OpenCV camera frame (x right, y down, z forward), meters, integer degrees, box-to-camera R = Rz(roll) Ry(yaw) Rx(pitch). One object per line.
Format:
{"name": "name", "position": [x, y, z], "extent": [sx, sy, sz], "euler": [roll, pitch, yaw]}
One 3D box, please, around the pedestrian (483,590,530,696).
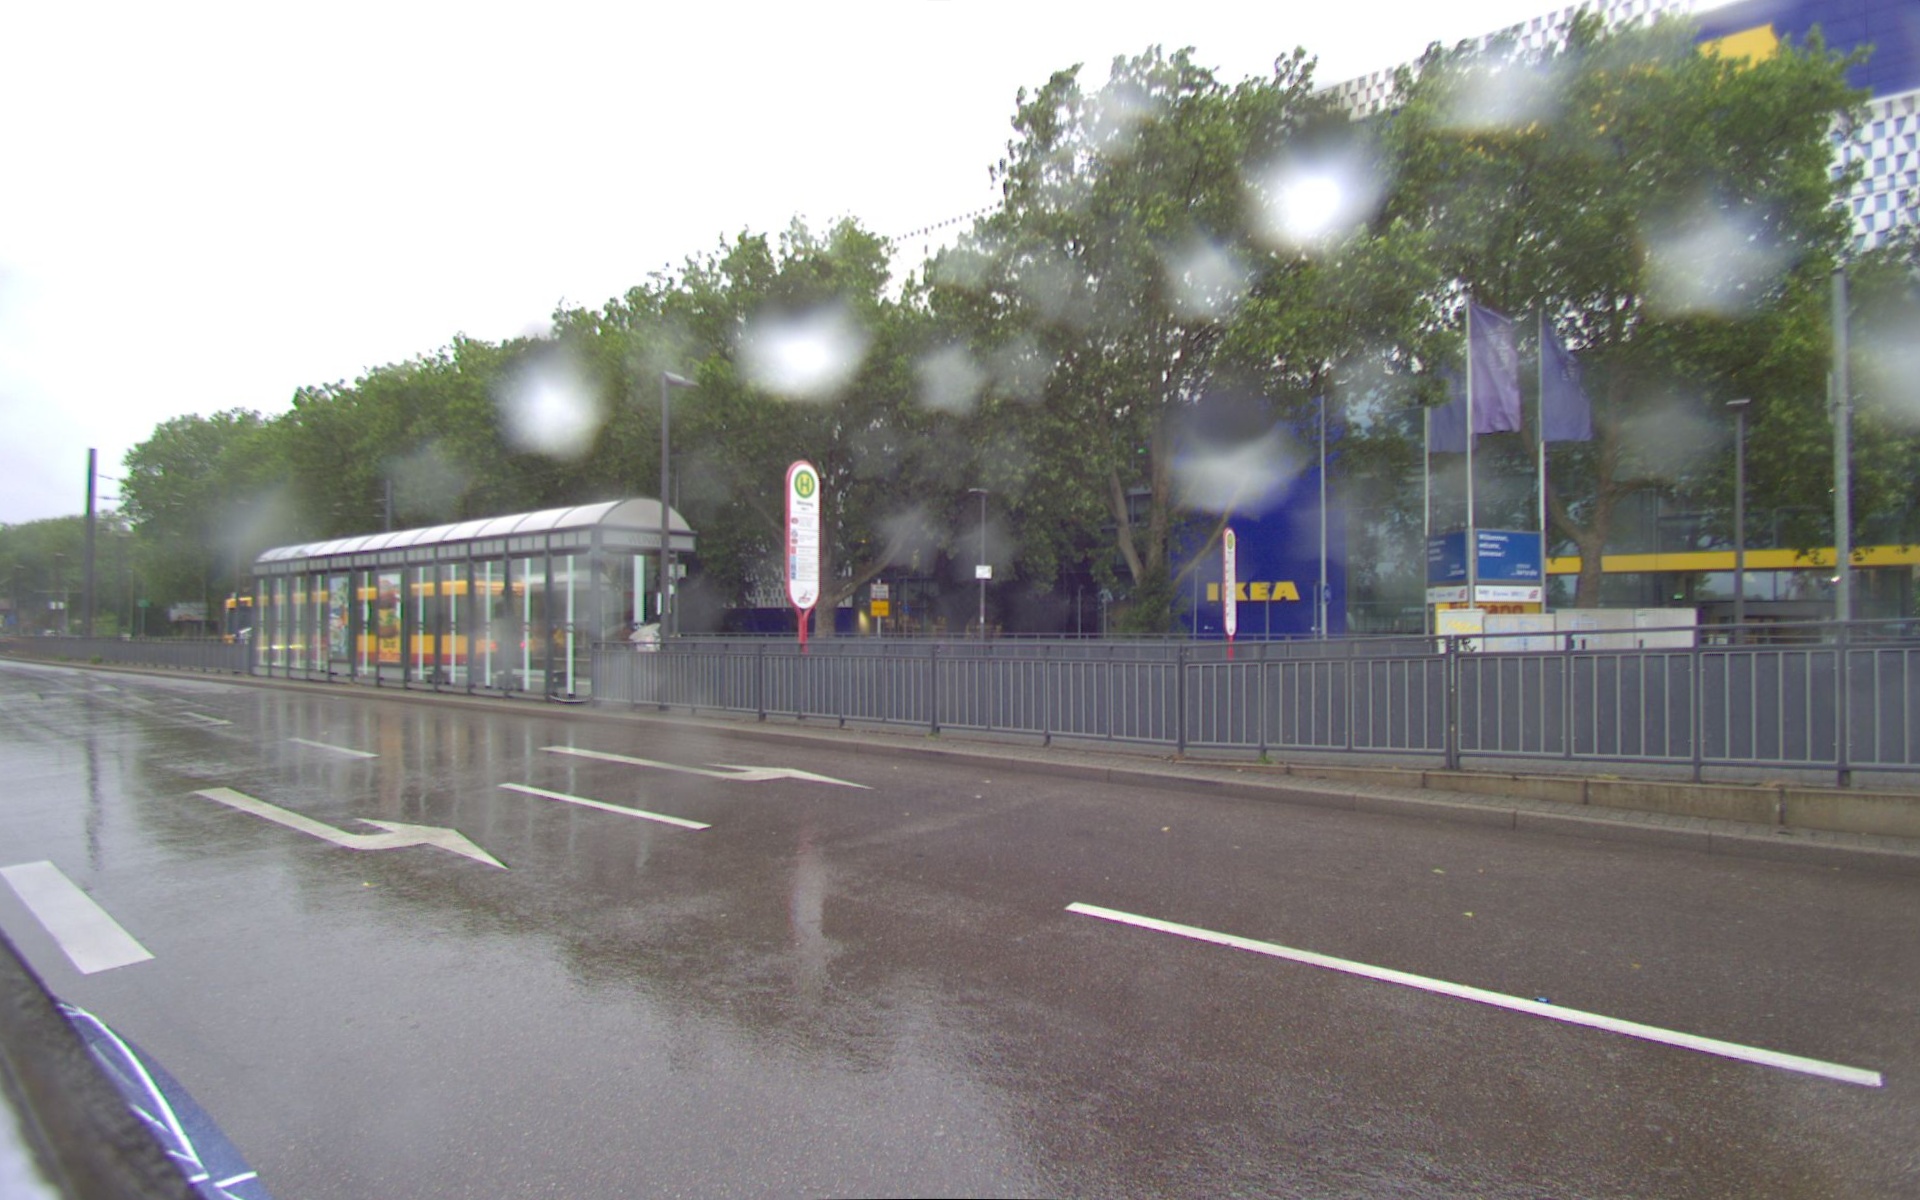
{"name": "pedestrian", "position": [-8.290, 0.768, 18.489], "extent": [0.646, 1.885, 0.774], "euler": [-1, 0, -33]}

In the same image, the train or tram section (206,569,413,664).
{"name": "train or tram section", "position": [-30.557, 0.736, 46.985], "extent": [15.560, 3.827, 3.703], "euler": [-1, 0, 40]}

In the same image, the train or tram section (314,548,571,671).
{"name": "train or tram section", "position": [-19.595, 0.354, 37.591], "extent": [13.245, 3.868, 3.703], "euler": [-1, 0, 40]}

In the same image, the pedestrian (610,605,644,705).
{"name": "pedestrian", "position": [-5.134, 0.832, 15.597], "extent": [0.317, 1.504, 0.416], "euler": [-2, 1, -44]}
